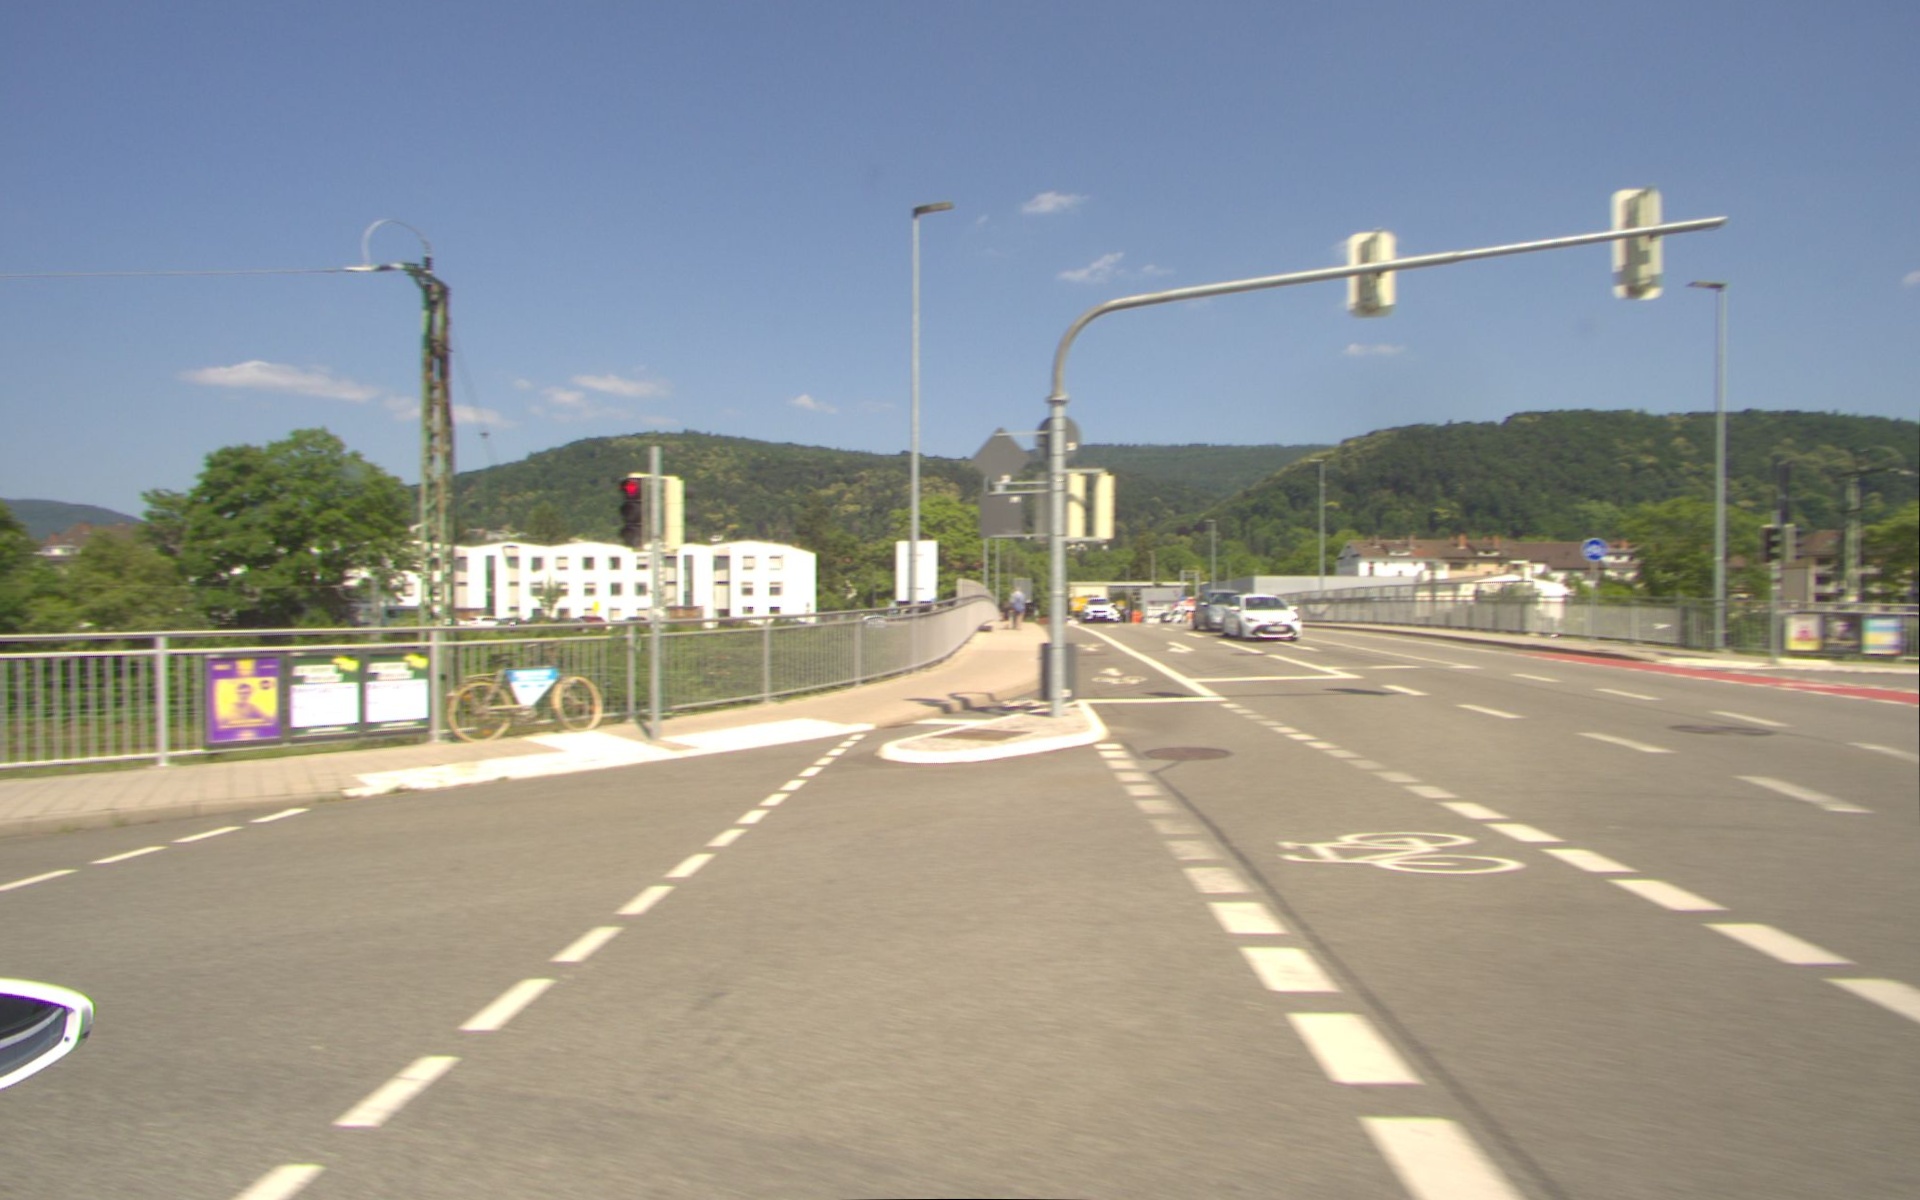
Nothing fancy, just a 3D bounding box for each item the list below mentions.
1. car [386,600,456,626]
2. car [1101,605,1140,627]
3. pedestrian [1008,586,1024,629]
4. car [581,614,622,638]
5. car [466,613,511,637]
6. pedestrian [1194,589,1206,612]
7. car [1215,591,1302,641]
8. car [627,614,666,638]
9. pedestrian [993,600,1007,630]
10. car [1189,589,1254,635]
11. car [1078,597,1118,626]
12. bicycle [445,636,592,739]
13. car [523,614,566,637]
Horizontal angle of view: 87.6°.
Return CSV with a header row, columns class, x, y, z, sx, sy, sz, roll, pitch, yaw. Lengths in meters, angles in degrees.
class,x,y,z,sx,sy,sz,roll,pitch,yaw
car,-45.565,1.097,84.711,4.902,2.140,1.996,0,0,-16
car,12.934,1.276,80.999,1.961,1.742,5.061,0,0,-5
pedestrian,2.154,0.294,38.509,0.633,1.639,0.921,0,0,3
car,-31.806,2.253,89.007,1.961,2.040,4.470,0,0,1
car,-42.756,2.251,90.925,1.961,2.040,4.470,0,0,1
pedestrian,21.516,0.015,89.722,0.841,2.040,1.155,0,0,3
car,9.395,0.489,31.852,1.703,1.489,4.410,0,0,4
car,-27.741,2.257,88.693,1.961,2.040,4.470,0,0,1
pedestrian,1.538,0.575,38.418,0.503,1.136,0.476,0,0,3
car,9.995,0.452,38.583,1.703,1.648,4.442,0,0,5
car,8.711,0.713,63.664,1.961,1.742,4.633,0,0,1
bicycle,-5.218,1.011,11.910,0.295,1.115,1.605,1,0,44
car,-36.976,2.248,89.210,1.961,2.040,4.470,0,0,1
